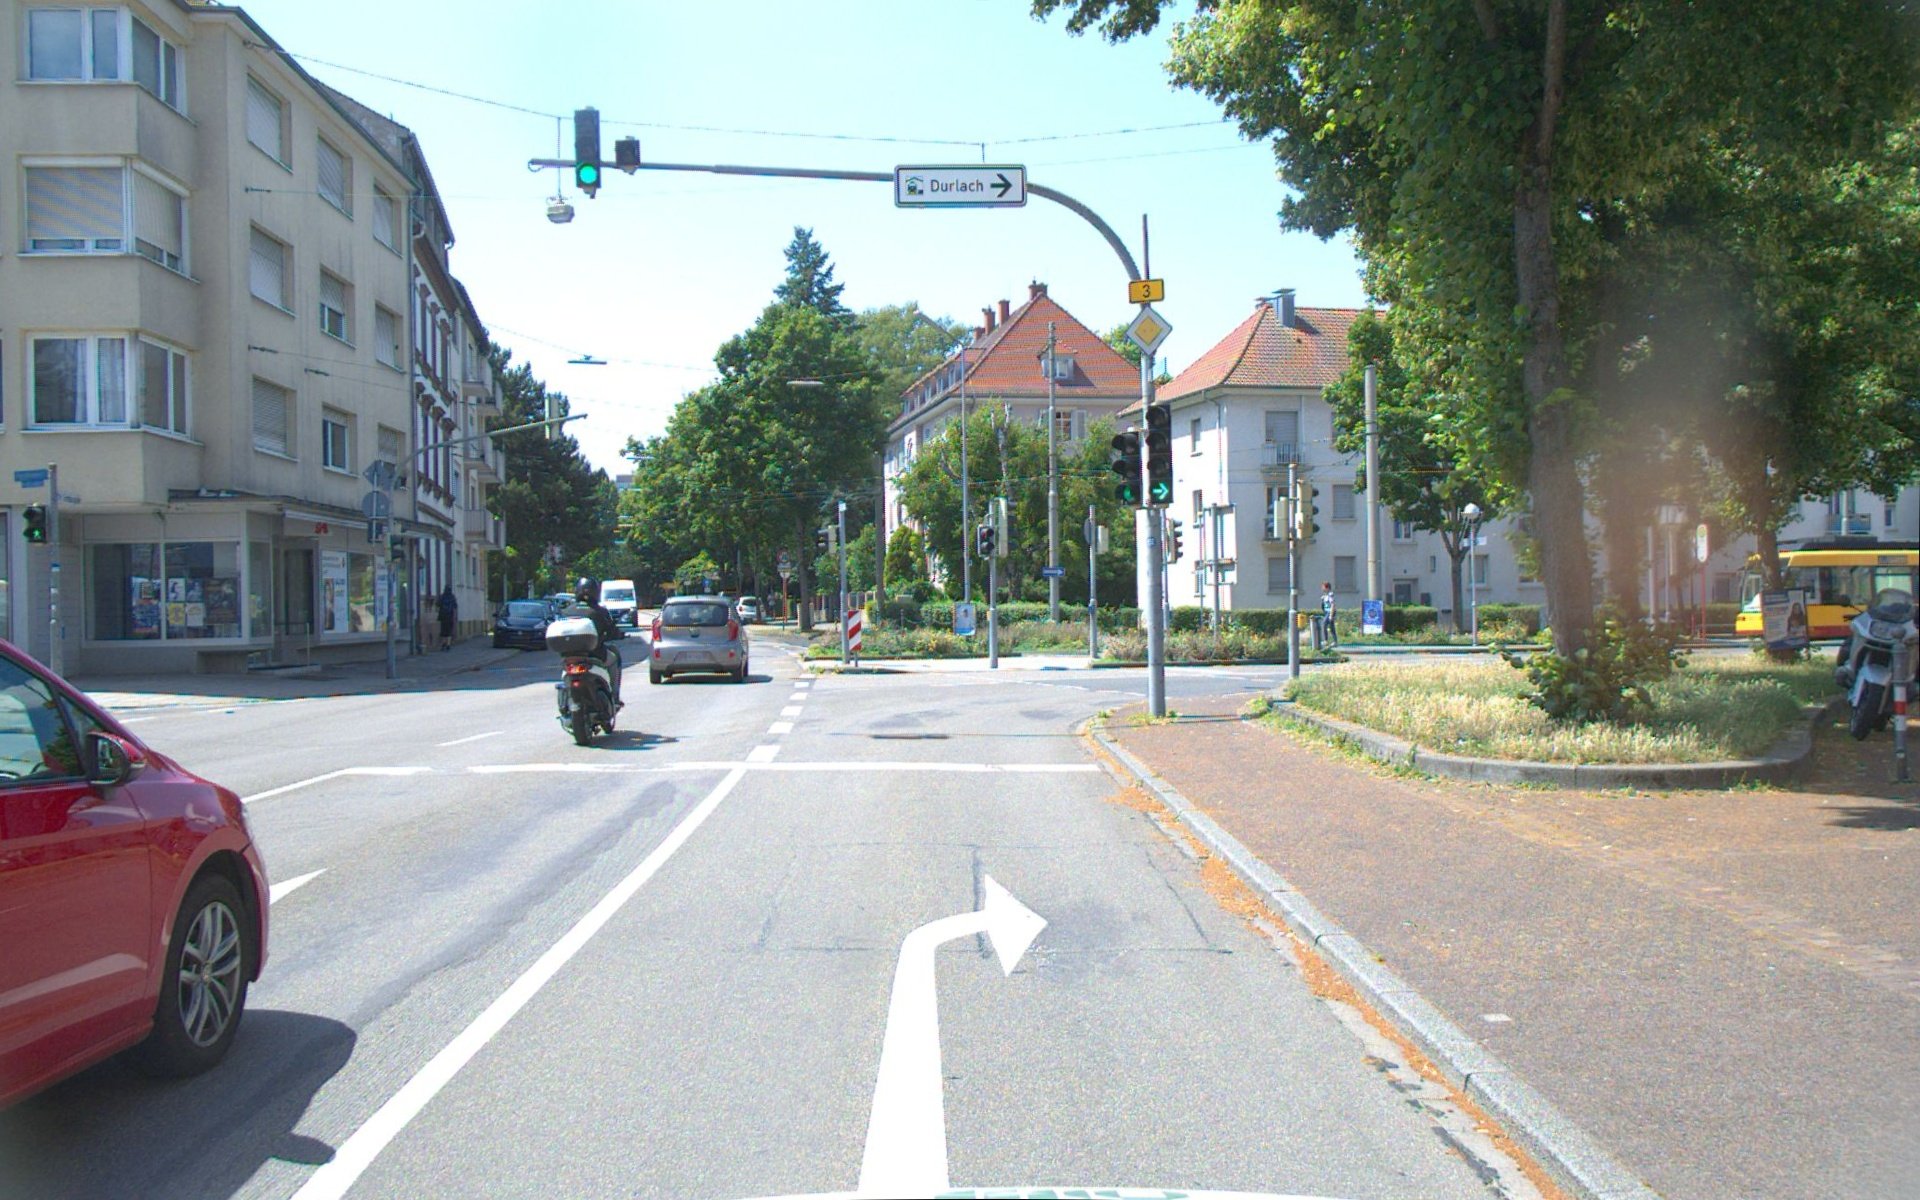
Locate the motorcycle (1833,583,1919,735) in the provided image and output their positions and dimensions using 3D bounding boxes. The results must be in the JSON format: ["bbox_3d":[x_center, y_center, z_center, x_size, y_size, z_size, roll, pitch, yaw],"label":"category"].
[{"bbox_3d":[8.737,0.514,15.578,0.898,1.336,2.222,0,0,28],"label":"motorcycle"}]

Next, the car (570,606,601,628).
[{"bbox_3d":[-27.814,1.238,122.895,1.765,1.585,4.030,2,-1,-8],"label":"car"}]

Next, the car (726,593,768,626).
[{"bbox_3d":[-12.100,0.521,93.888,1.959,1.839,3.986,0,0,-13],"label":"car"}]

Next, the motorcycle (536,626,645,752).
[{"bbox_3d":[-3.720,0.859,16.823,0.696,1.154,2.196,0,0,-2],"label":"motorcycle"}]

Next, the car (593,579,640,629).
[{"bbox_3d":[-19.044,0.236,92.028,2.176,2.544,7.535,-4,0,-10],"label":"car"}]

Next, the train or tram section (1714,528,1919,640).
[{"bbox_3d":[32.702,-0.605,56.836,13.905,3.631,2.806,-1,0,-16],"label":"train or tram section"}]

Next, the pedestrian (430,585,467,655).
[{"bbox_3d":[-14.688,0.573,47.551,0.919,1.965,0.974,-1,-1,-13],"label":"pedestrian"}]

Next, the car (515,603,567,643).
[{"bbox_3d":[-16.854,0.904,66.662,1.960,1.536,3.985,-1,0,-14],"label":"car"}]

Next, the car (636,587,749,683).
[{"bbox_3d":[-4.715,0.593,29.643,1.764,1.585,4.032,-1,0,-6],"label":"car"}]

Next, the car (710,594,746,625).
[{"bbox_3d":[-15.022,0.602,107.004,1.959,1.940,3.986,0,0,-13],"label":"car"}]

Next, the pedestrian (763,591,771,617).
[{"bbox_3d":[-12.182,0.250,104.401,0.499,1.685,0.465,0,0,-8],"label":"pedestrian"}]

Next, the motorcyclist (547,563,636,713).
[{"bbox_3d":[-3.729,0.370,16.807,0.696,1.471,1.019,0,0,-2],"label":"motorcyclist"}]

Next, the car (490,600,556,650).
[{"bbox_3d":[-14.089,0.822,53.452,1.960,1.546,3.984,0,-1,-14],"label":"car"}]

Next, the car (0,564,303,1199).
[{"bbox_3d":[-3.149,0.706,3.718,1.762,1.585,4.037,0,0,-1],"label":"car"}]

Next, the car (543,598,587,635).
[{"bbox_3d":[-19.744,0.817,82.809,1.766,1.748,4.028,2,-1,-10],"label":"car"}]

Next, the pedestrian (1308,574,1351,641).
[{"bbox_3d":[9.737,0.200,43.606,0.826,1.735,0.755,0,0,-28],"label":"pedestrian"}]
